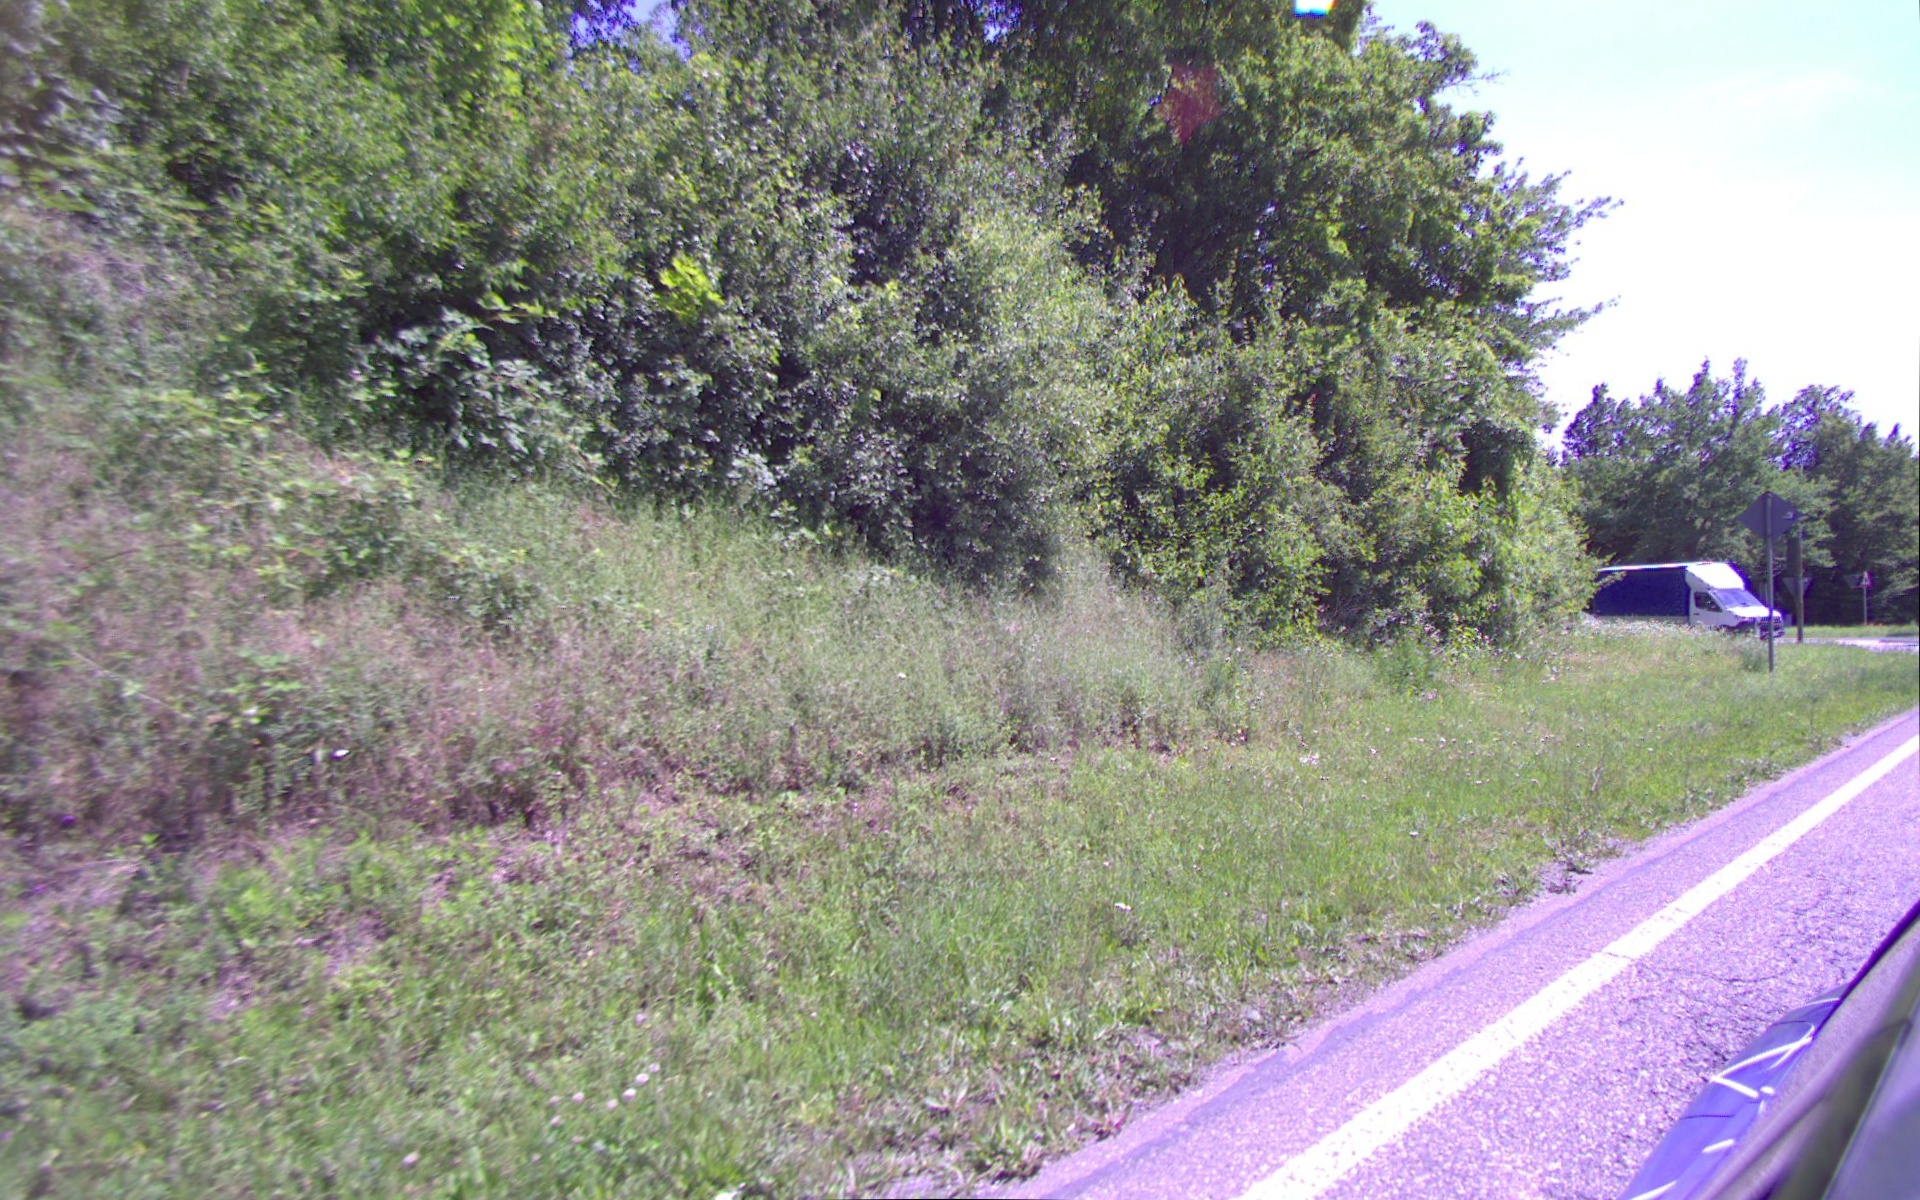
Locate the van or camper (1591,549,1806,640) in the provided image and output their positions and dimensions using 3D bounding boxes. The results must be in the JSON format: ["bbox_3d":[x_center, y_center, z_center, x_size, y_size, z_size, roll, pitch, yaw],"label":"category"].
[{"bbox_3d":[29.101,-0.158,40.356,2.061,3.253,7.266,-1,-1,-13],"label":"van or camper"}]

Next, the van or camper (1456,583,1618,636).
[{"bbox_3d":[29.357,0.581,51.911,2.359,2.509,7.246,0,-2,-22],"label":"van or camper"}]
